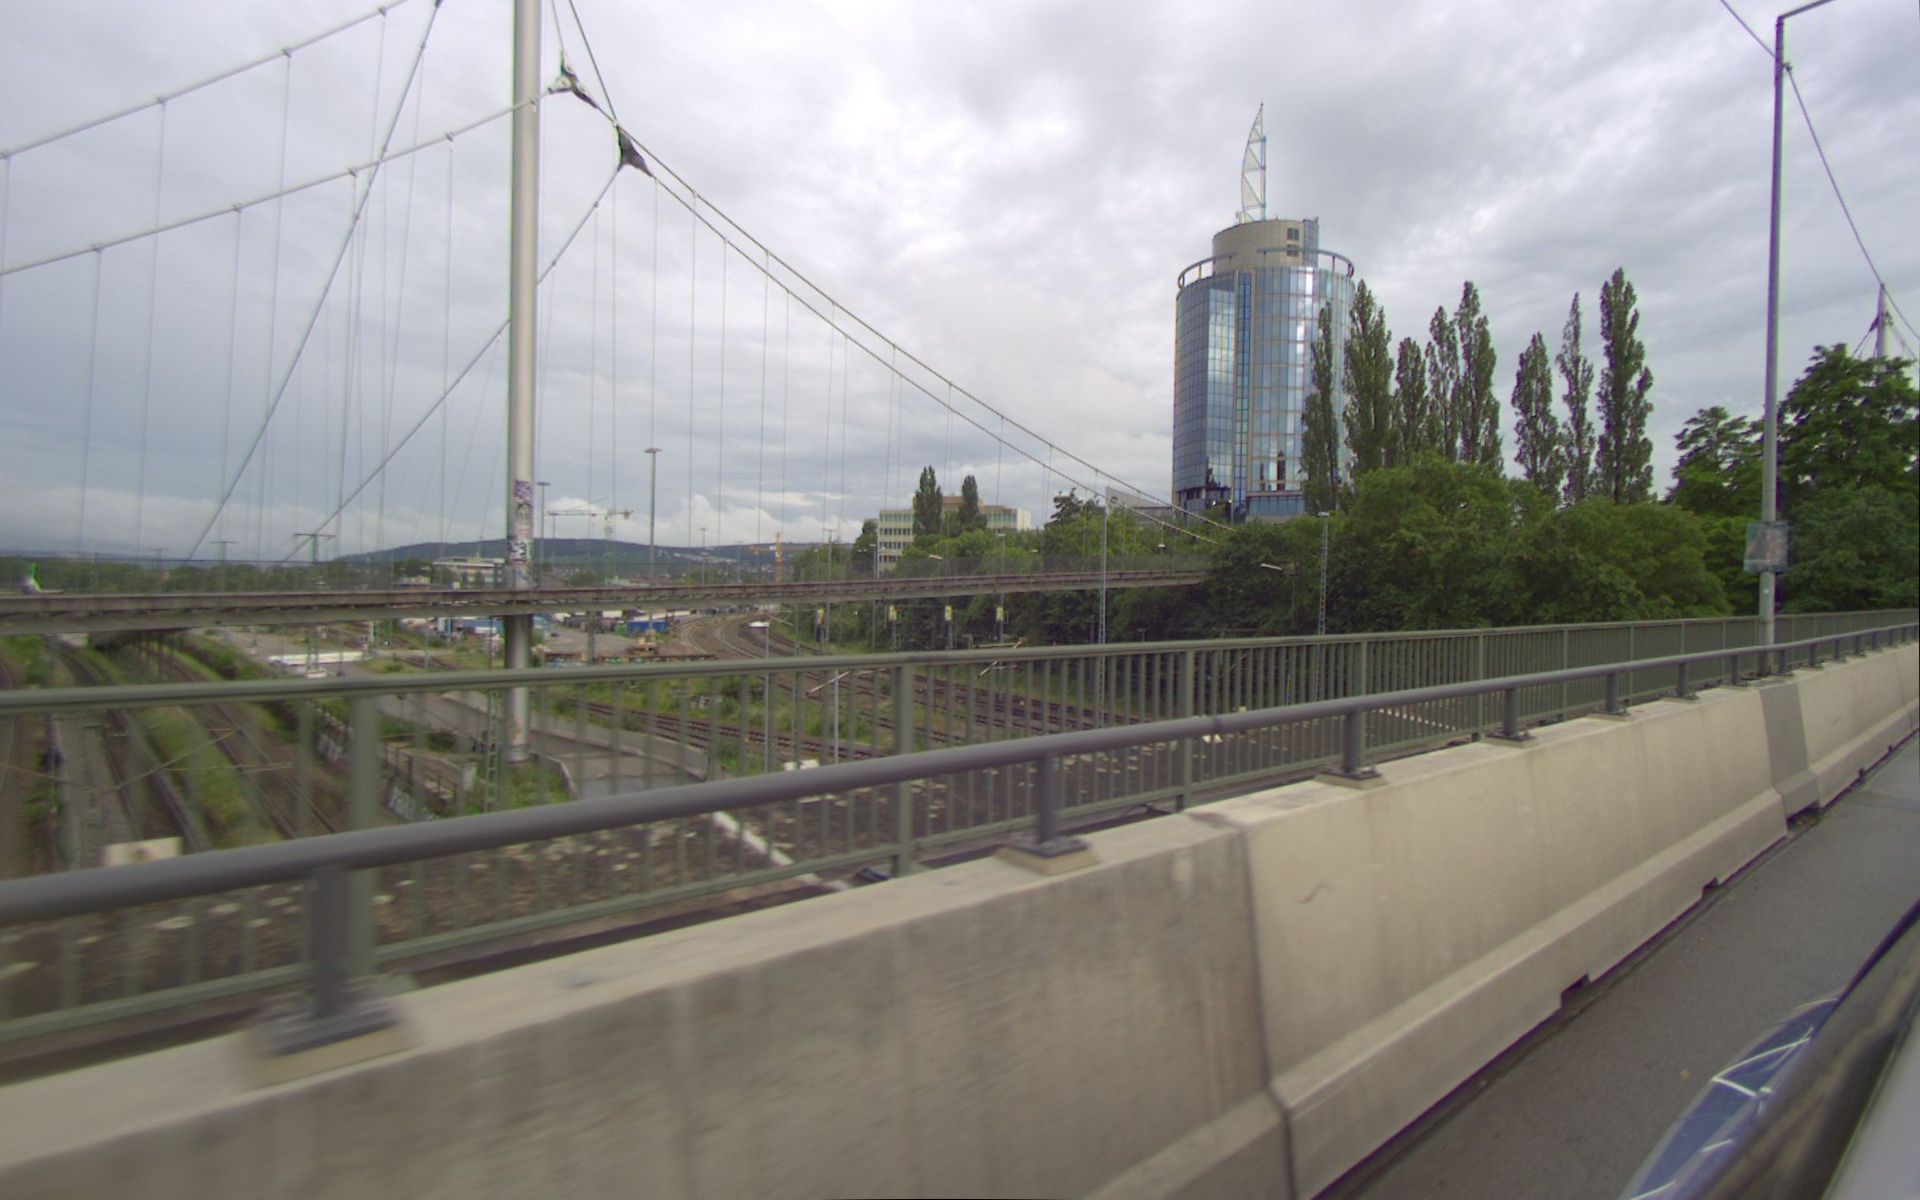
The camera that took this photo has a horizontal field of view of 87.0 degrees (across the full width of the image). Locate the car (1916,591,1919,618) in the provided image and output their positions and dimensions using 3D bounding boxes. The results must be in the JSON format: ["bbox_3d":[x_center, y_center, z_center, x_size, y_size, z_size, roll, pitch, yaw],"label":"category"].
[{"bbox_3d":[64.953,0.309,66.708,1.752,1.839,3.963,0,0,27],"label":"car"}]
